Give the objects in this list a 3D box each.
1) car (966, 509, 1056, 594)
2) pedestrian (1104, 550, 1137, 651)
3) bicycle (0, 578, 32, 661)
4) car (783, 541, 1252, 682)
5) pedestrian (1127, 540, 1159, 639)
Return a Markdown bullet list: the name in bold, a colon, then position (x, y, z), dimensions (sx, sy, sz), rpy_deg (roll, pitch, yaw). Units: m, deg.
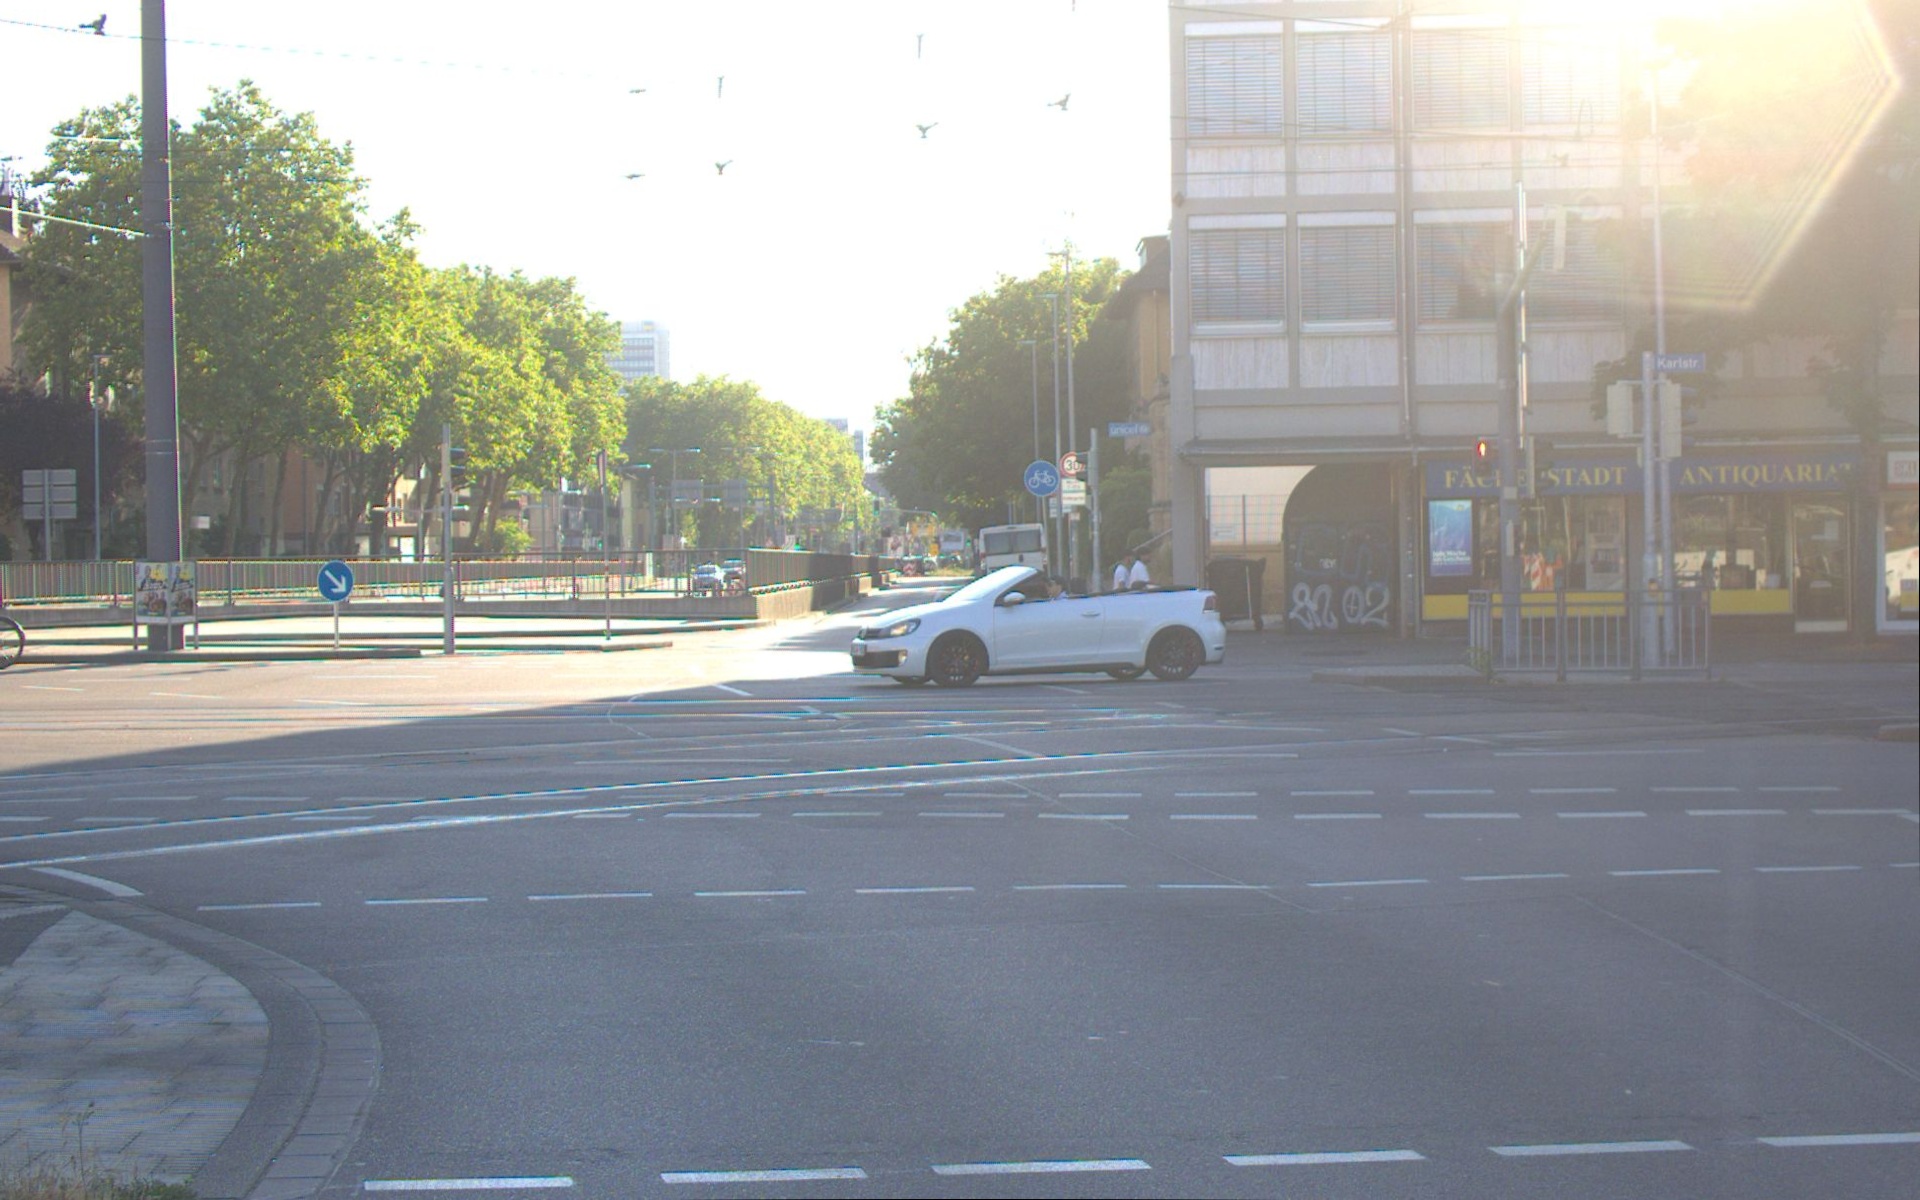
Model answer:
- **car**: position (1.520, -1.454, 104.373), dimensions (2.486, 2.384, 5.935), rpy_deg (-2, 0, -1)
- **pedestrian**: position (2.405, 0.004, 51.529), dimensions (0.365, 1.502, 0.543), rpy_deg (-1, 1, -7)
- **bicycle**: position (-13.634, 0.270, 46.510), dimensions (1.972, 1.094, 0.677), rpy_deg (-1, 1, -4)
- **car**: position (0.634, 0.101, 38.862), dimensions (4.918, 1.474, 2.001), rpy_deg (-1, 1, -17)
- **pedestrian**: position (2.783, -0.162, 52.405), dimensions (0.365, 1.502, 0.543), rpy_deg (-1, 1, -7)
